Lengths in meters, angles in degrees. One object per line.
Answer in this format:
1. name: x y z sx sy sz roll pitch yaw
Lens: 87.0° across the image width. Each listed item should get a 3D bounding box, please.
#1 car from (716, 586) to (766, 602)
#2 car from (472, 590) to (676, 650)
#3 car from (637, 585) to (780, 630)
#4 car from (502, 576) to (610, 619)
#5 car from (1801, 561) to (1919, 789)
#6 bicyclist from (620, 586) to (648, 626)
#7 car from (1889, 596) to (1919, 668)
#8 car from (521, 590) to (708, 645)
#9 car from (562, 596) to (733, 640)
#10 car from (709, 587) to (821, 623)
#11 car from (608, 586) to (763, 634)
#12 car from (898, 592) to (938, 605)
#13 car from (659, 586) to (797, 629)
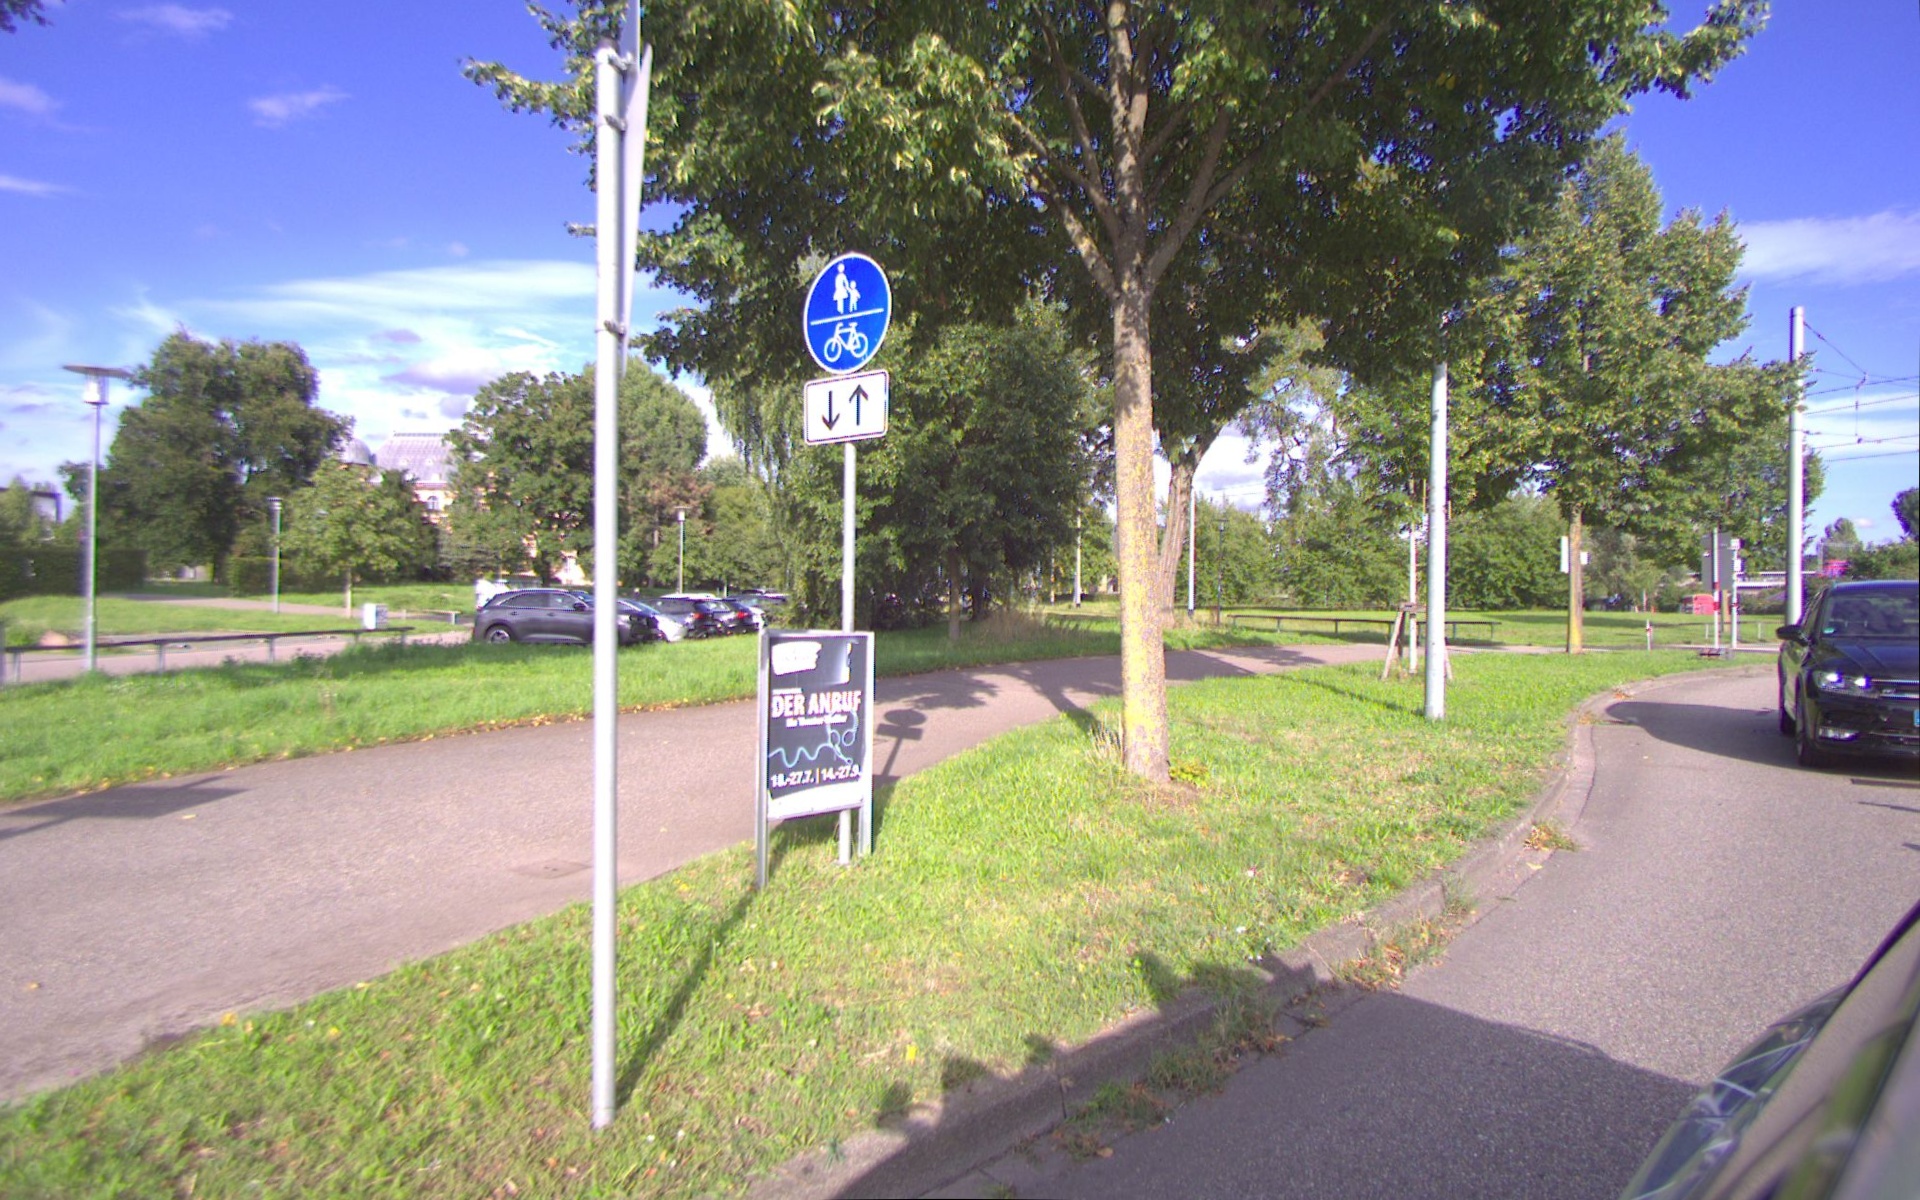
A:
1. car: -18.908 -0.529 87.437 3.927 1.352 1.779 0 0 3
2. car: -9.584 0.461 25.335 4.434 1.399 1.859 0 0 5
3. car: -8.974 0.232 36.321 4.649 1.534 1.859 0 0 5
4. car: -20.290 -0.108 50.900 4.727 2.040 1.873 -1 -2 7
5. car: 9.054 0.557 9.334 1.865 1.716 4.940 1 1 41
6. bicyclist: -13.335 0.226 41.433 0.759 1.594 0.958 0 1 7
7. car: 21.277 0.643 20.730 4.514 1.439 1.899 0 -1 -28
8. car: -9.669 0.457 28.504 4.652 1.458 1.857 0 0 7
9. car: -9.460 0.529 30.849 4.649 1.223 1.859 0 0 5
10. car: -8.722 0.220 45.488 4.663 1.534 1.859 0 0 5
11. car: -9.089 0.306 33.692 4.649 1.534 1.859 0 0 5
12. car: -5.004 -0.206 121.027 4.405 1.560 1.851 1 0 15
13. car: -8.769 0.263 38.426 4.776 1.534 1.859 0 0 5
